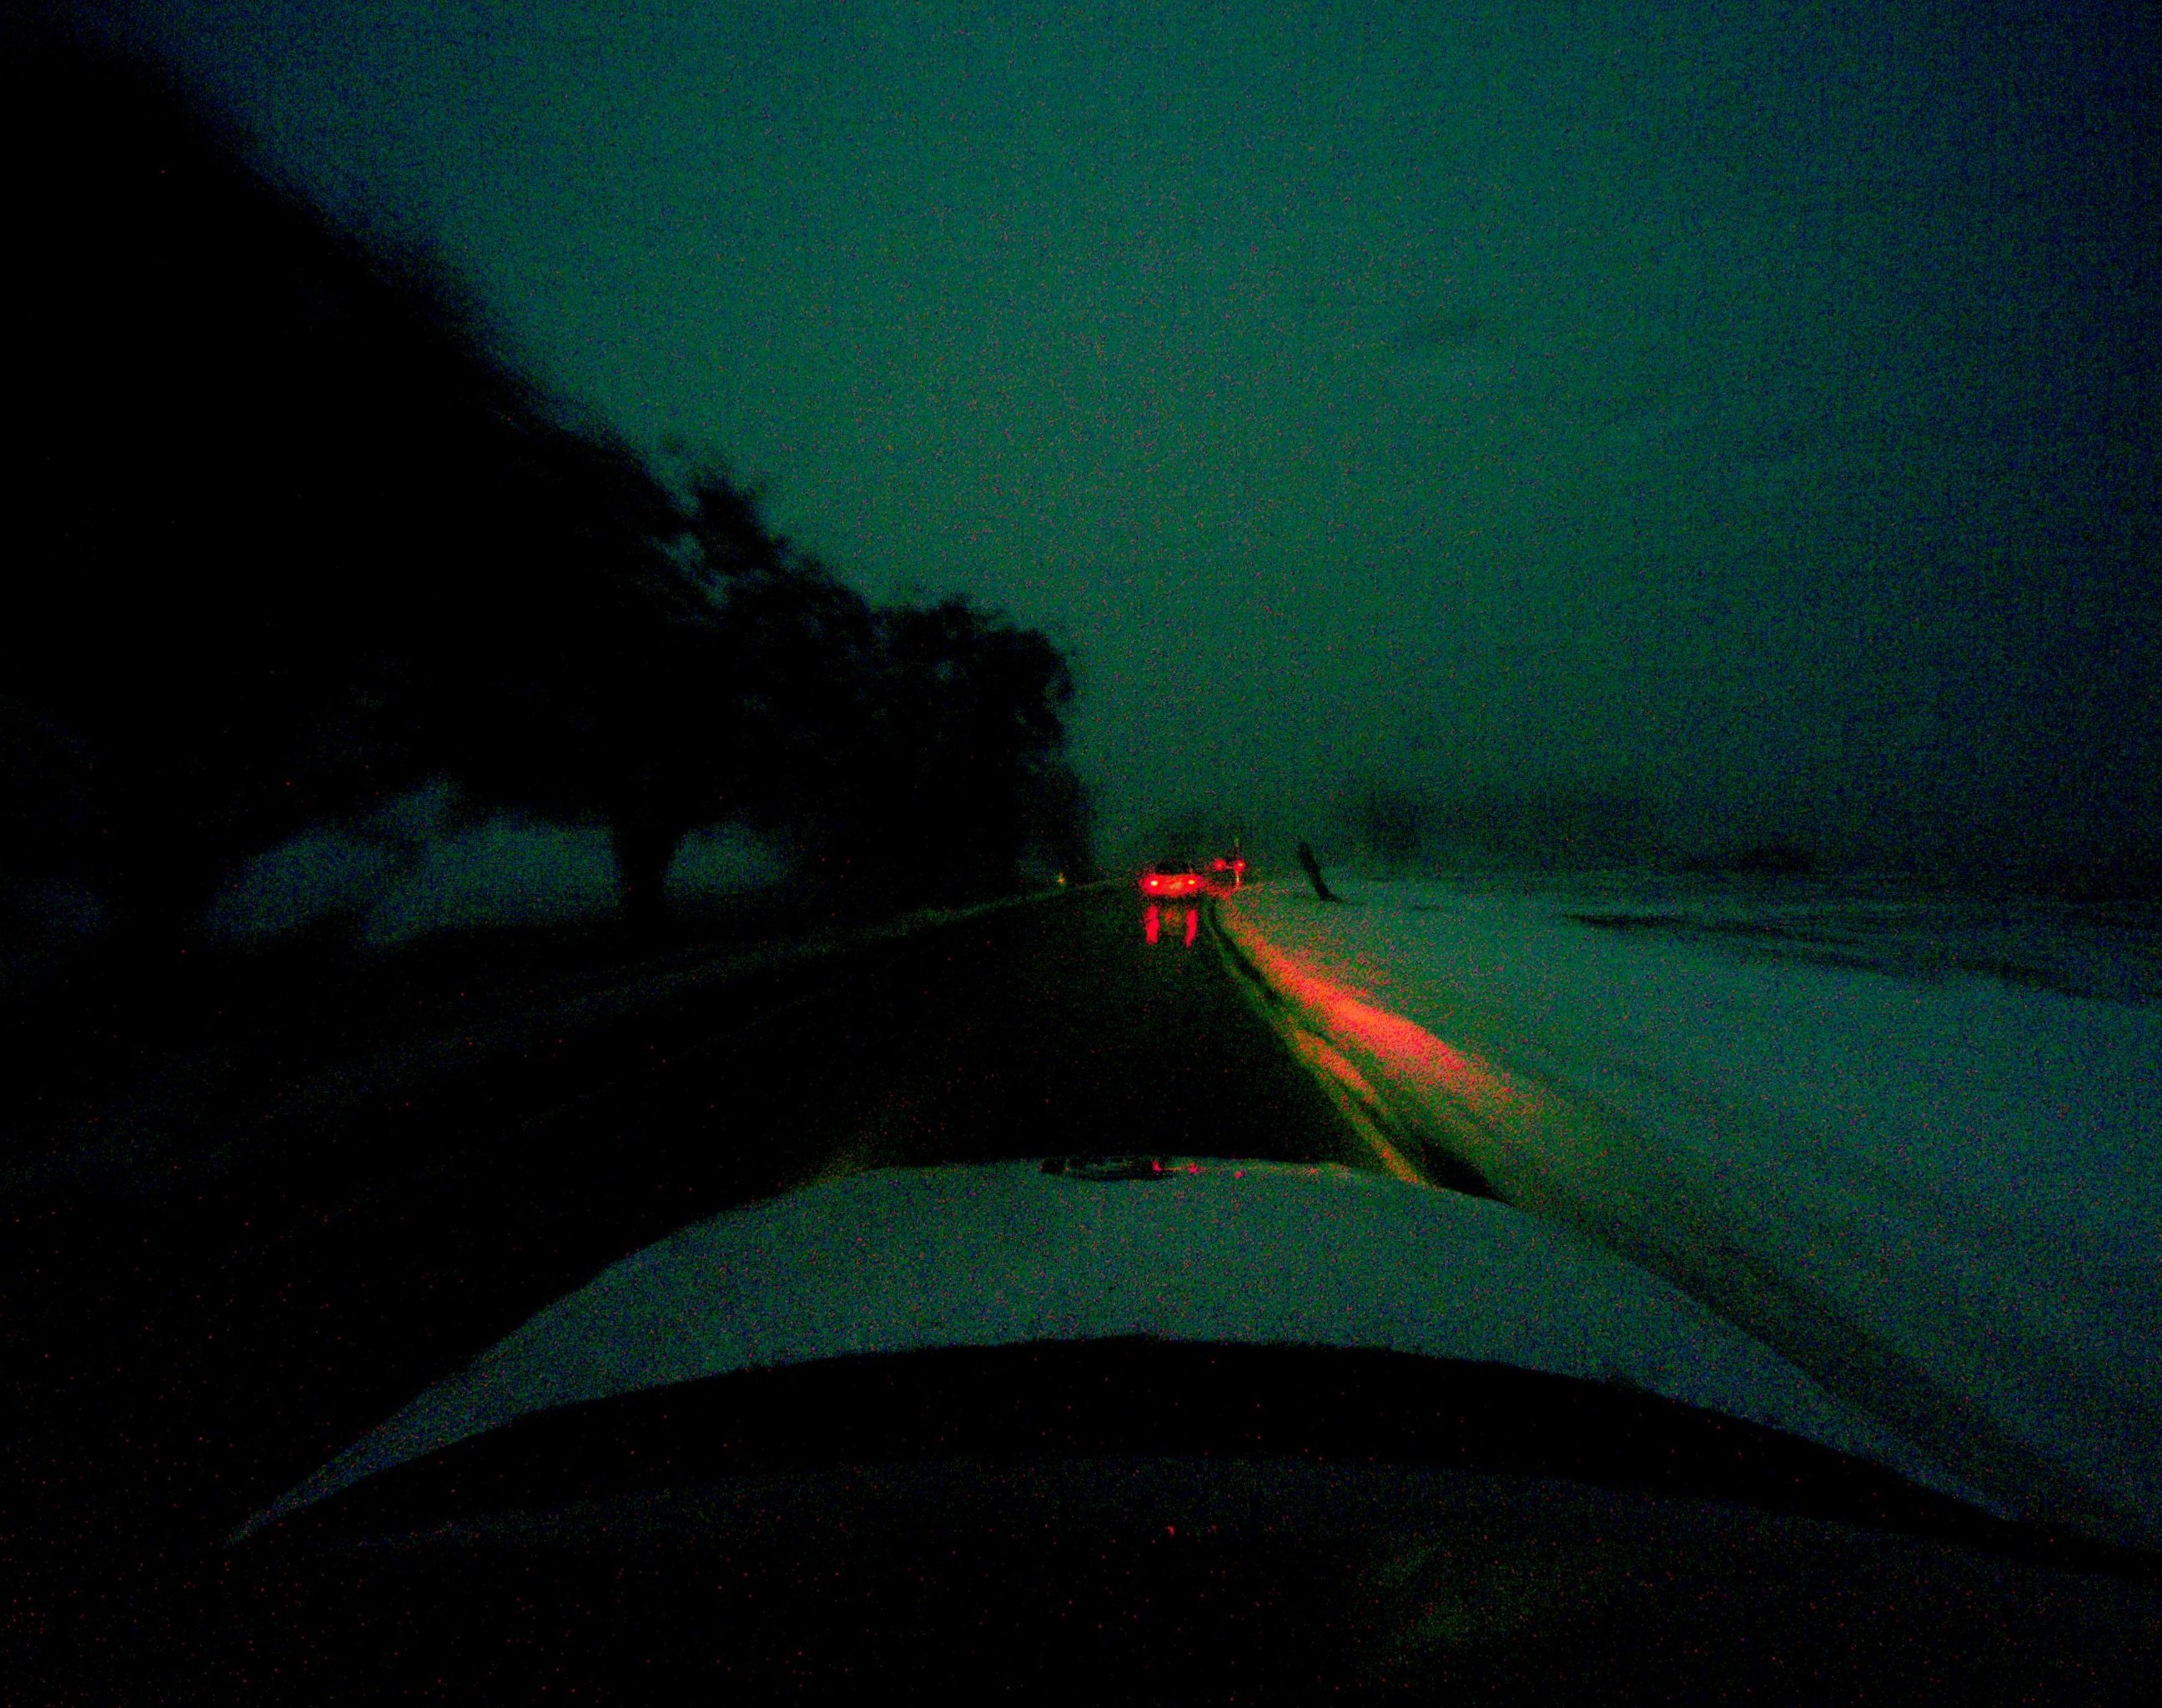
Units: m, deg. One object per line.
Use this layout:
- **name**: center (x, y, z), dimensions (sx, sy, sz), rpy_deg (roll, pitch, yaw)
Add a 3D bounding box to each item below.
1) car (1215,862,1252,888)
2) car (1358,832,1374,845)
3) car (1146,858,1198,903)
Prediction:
- **car**: center (9.462, 1.277, 50.376), dimensions (1.465, 1.508, 3.071), rpy_deg (-2, -1, 25)
- **car**: center (36.532, -2.000, 104.456), dimensions (1.508, 1.508, 3.070), rpy_deg (-2, -1, 26)
- **car**: center (3.220, 0.892, 28.972), dimensions (1.698, 1.463, 4.006), rpy_deg (0, 0, 6)
